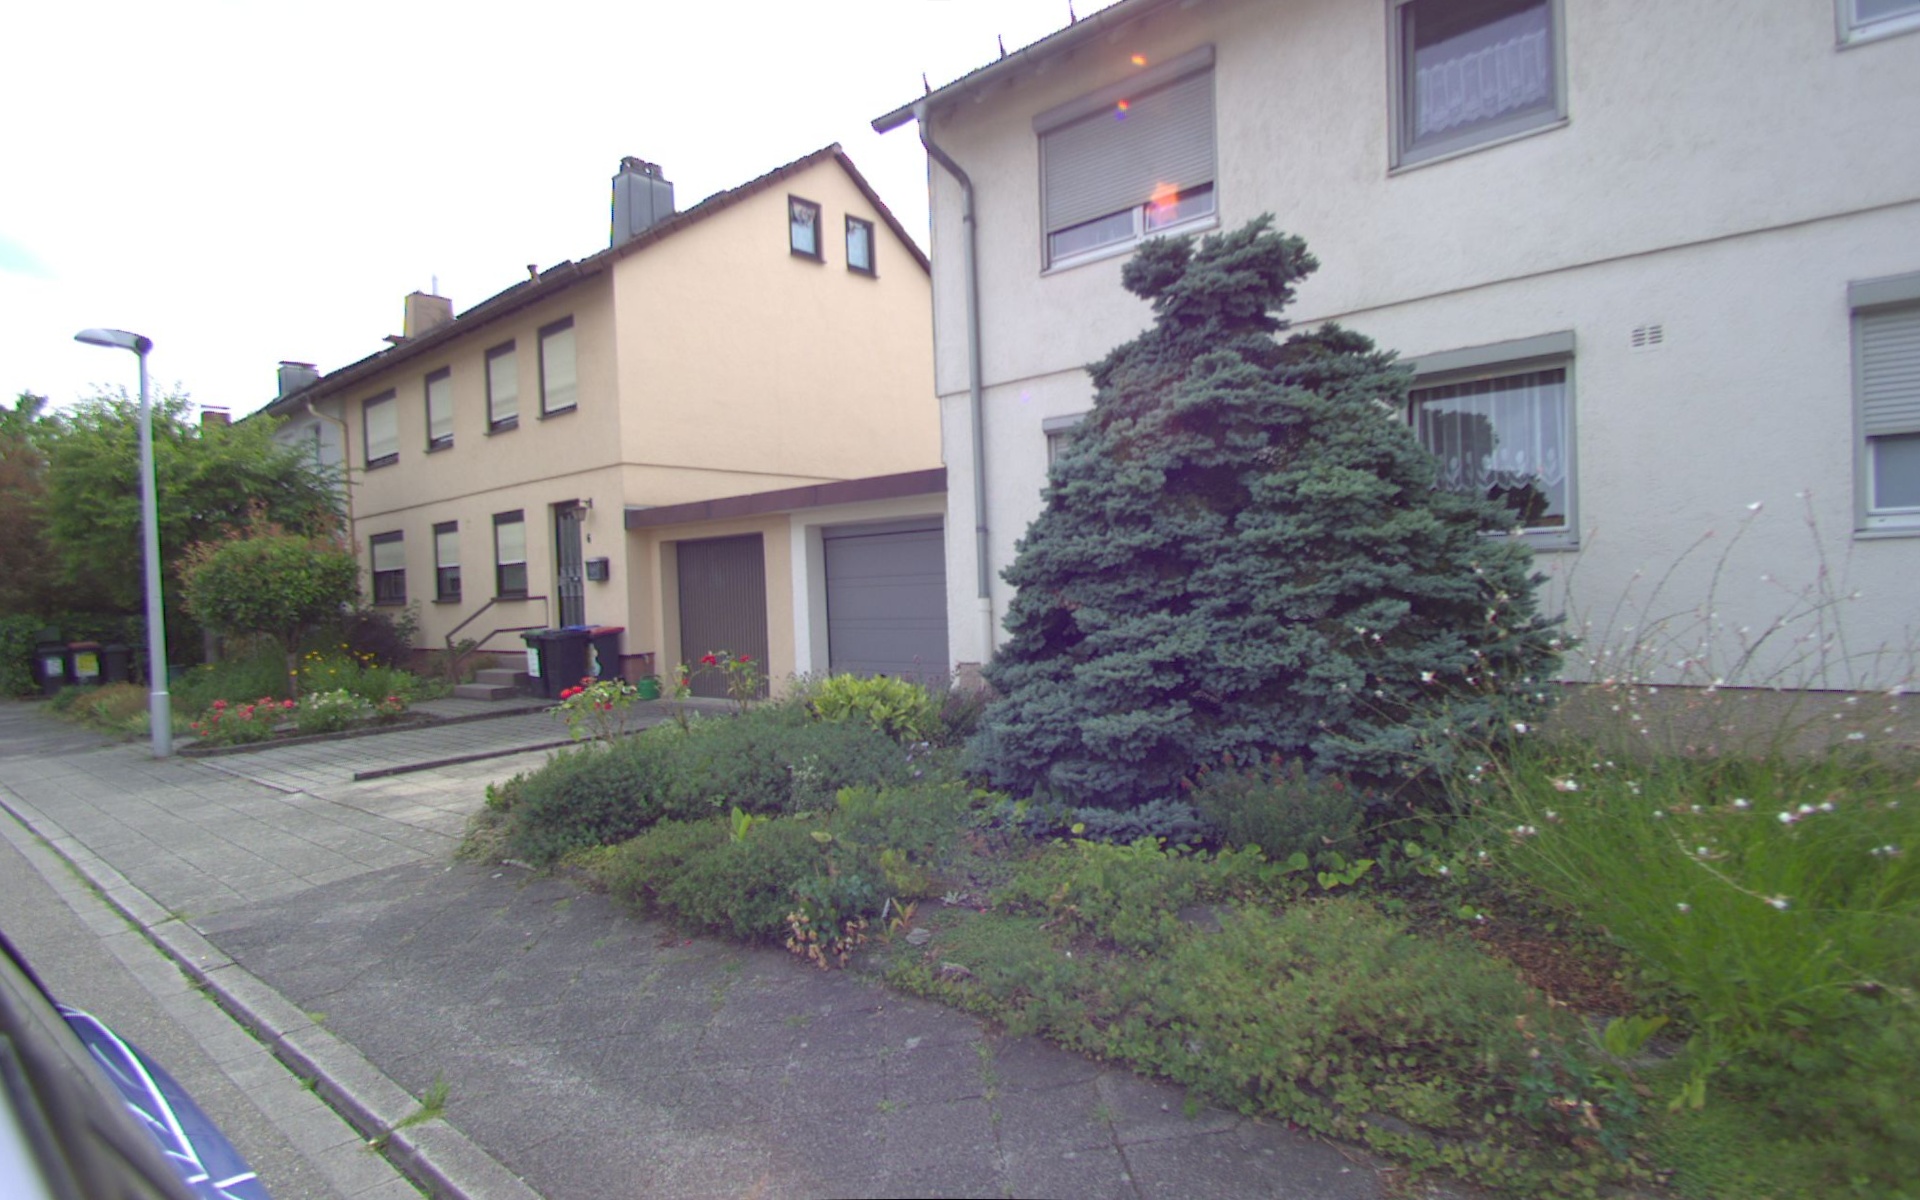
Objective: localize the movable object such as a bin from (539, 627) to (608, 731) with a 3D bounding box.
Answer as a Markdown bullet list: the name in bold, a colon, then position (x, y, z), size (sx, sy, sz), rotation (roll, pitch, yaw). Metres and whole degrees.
- **movable object such as a bin**: position (-5.394, 1.081, 14.126), size (0.632, 1.395, 0.646), rotation (-2, -1, 41)

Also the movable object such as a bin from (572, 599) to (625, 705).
- **movable object such as a bin**: position (-4.888, 0.689, 13.688), size (0.610, 1.395, 0.406), rotation (-2, -1, 41)

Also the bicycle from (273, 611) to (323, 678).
- **bicycle**: position (-14.480, 0.958, 22.129), size (1.847, 1.406, 0.427), rotation (-2, 0, 42)

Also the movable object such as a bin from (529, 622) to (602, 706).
- **movable object such as a bin**: position (-5.150, 0.819, 13.205), size (0.632, 1.029, 0.646), rotation (-2, 0, 41)

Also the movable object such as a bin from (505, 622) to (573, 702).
- **movable object such as a bin**: position (-5.637, 0.815, 13.557), size (0.541, 1.010, 0.646), rotation (-2, -1, 41)
